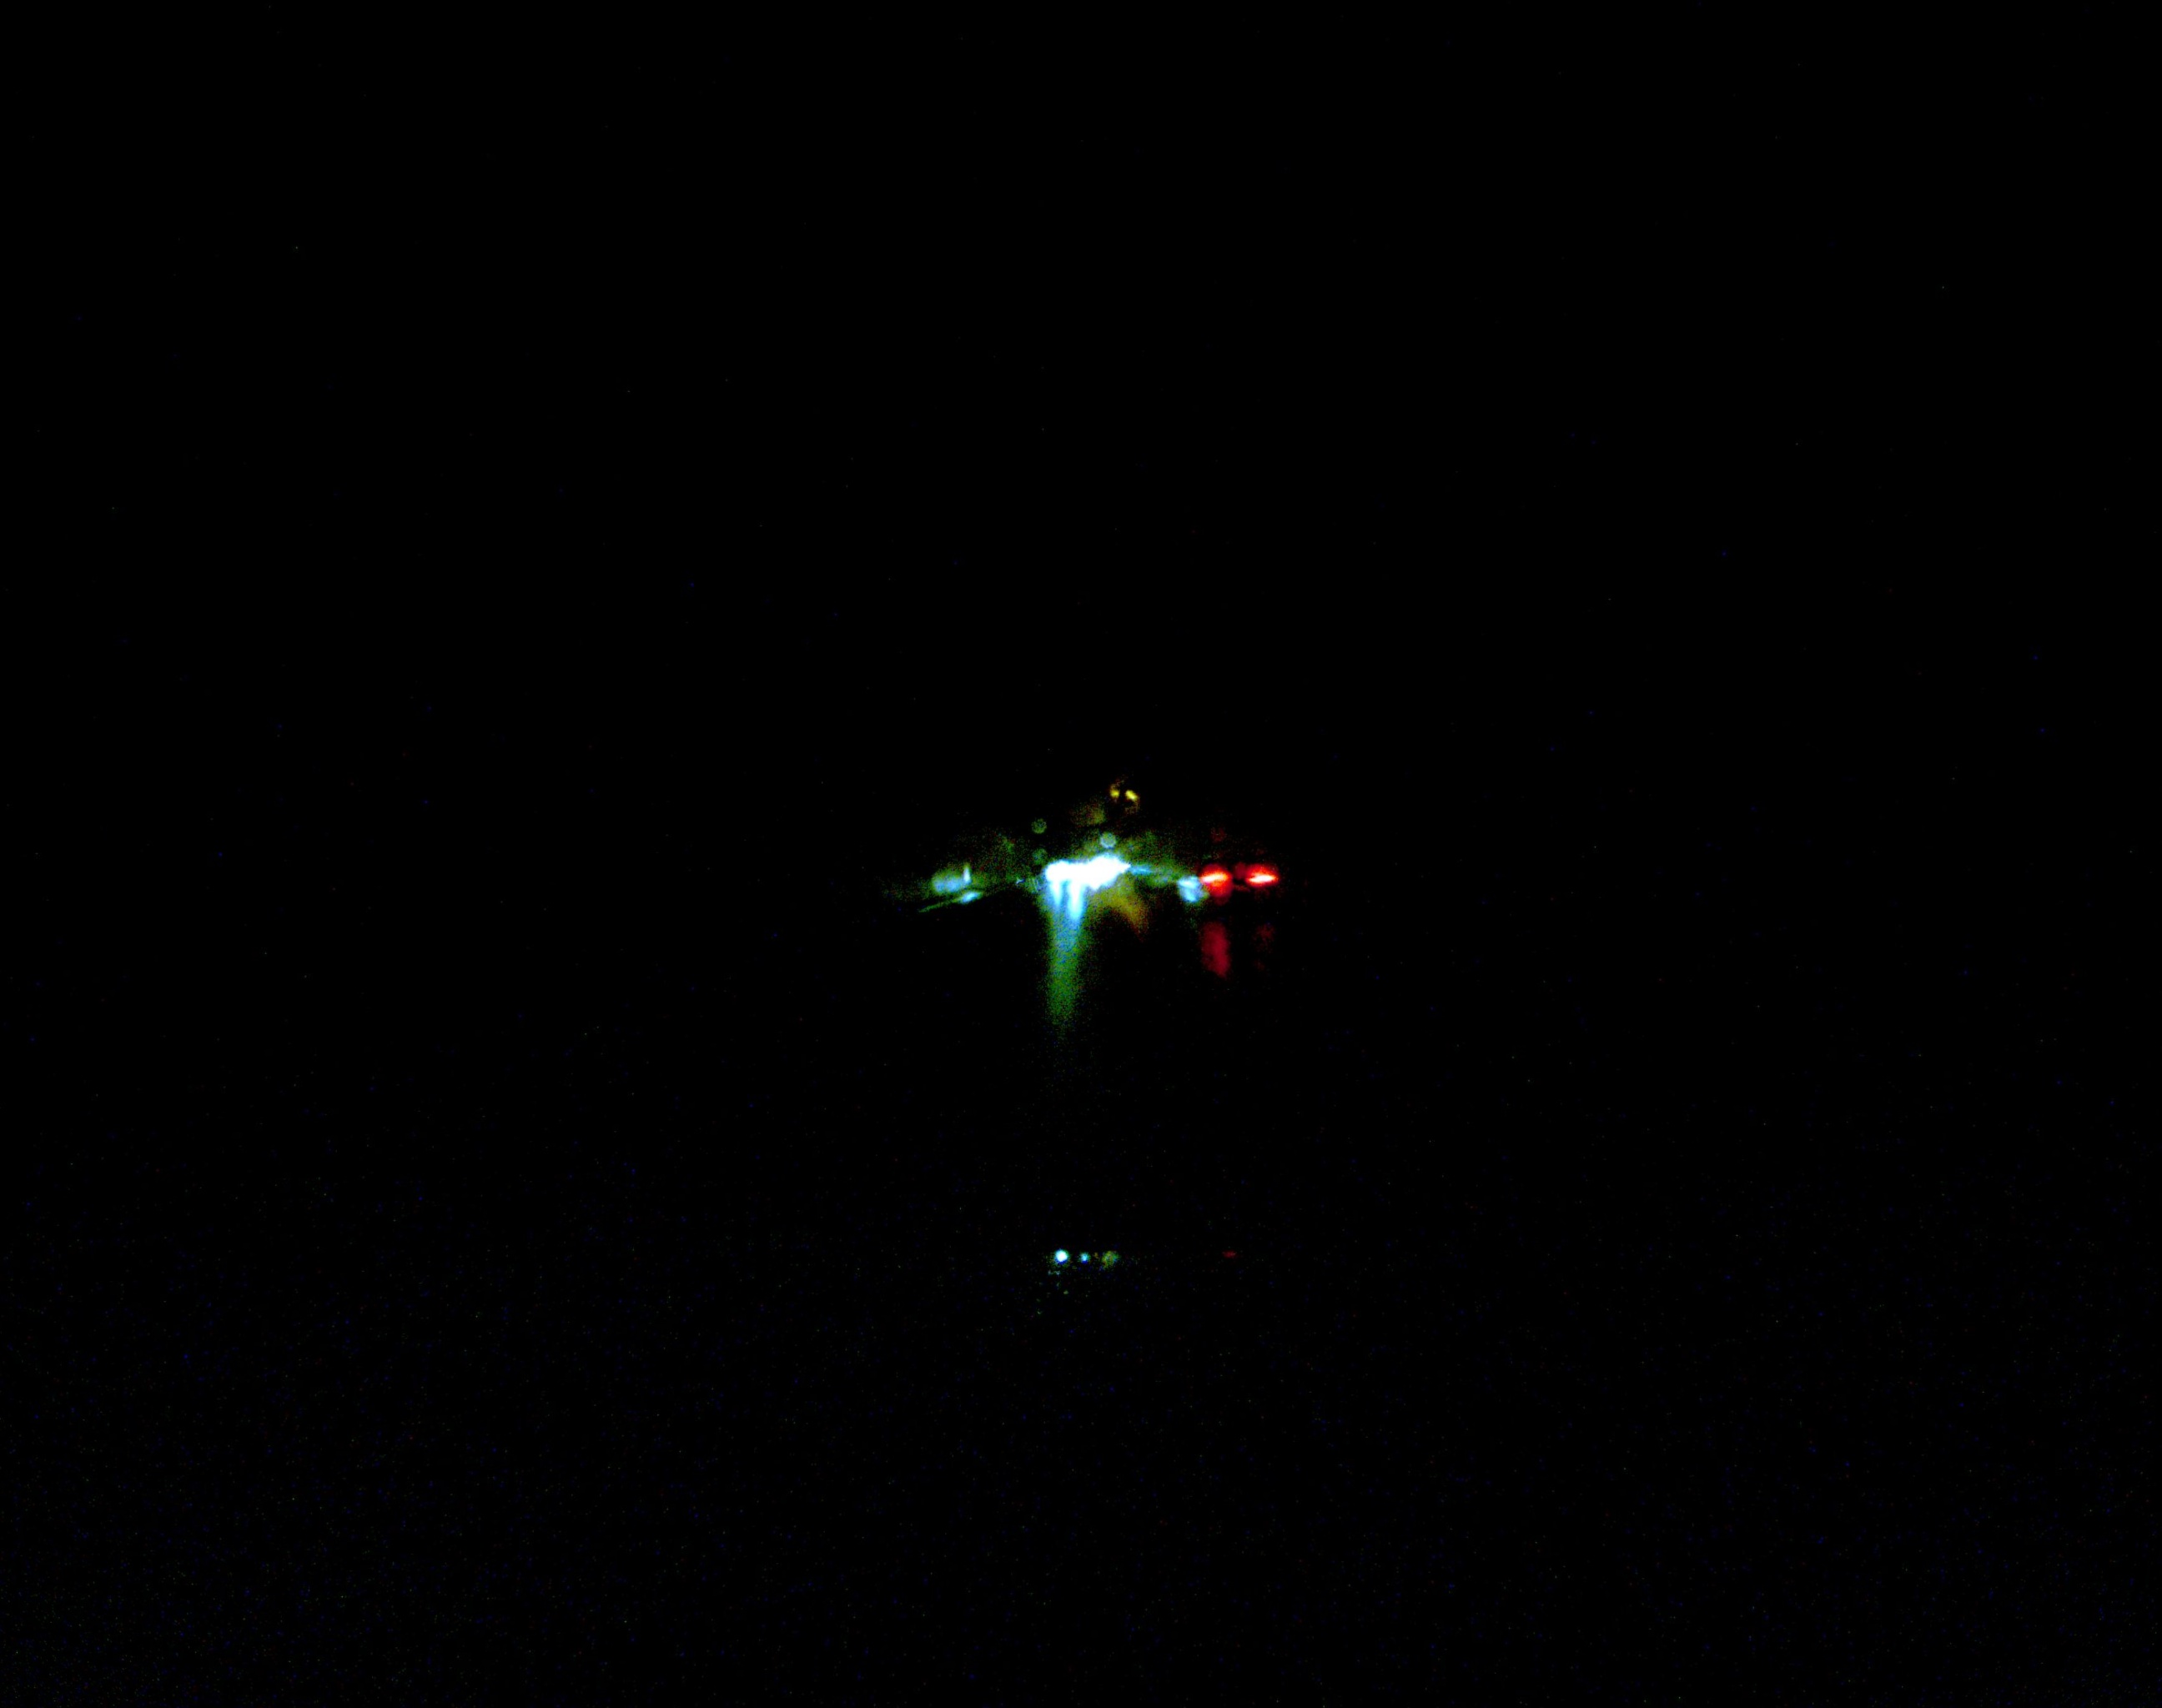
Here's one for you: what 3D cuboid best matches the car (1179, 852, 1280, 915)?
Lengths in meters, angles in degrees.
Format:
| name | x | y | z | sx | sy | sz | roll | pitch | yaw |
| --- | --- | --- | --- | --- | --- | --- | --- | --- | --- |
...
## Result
| name | x | y | z | sx | sy | sz | roll | pitch | yaw |
| --- | --- | --- | --- | --- | --- | --- | --- | --- | --- |
| car | 3.987 | 0.739 | 21.188 | 1.998 | 1.465 | 4.276 | -3 | 0 | 1 |

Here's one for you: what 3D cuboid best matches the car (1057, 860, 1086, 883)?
| name | x | y | z | sx | sy | sz | roll | pitch | yaw |
| --- | --- | --- | --- | --- | --- | --- | --- | --- | --- |
| car | -0.667 | 1.317 | 57.764 | 1.998 | 1.576 | 4.000 | -3 | 0 | 1 |

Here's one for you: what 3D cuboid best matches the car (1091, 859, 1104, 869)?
| name | x | y | z | sx | sy | sz | roll | pitch | yaw |
| --- | --- | --- | --- | --- | --- | --- | --- | --- | --- |
| car | 2.640 | 1.616 | 123.125 | 1.998 | 1.576 | 4.000 | -3 | 0 | 1 |

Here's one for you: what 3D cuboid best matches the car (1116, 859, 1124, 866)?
| name | x | y | z | sx | sy | sz | roll | pitch | yaw |
| --- | --- | --- | --- | --- | --- | --- | --- | --- | --- |
| car | 10.431 | 2.209 | 202.771 | 1.998 | 1.576 | 4.000 | -3 | 0 | 1 |

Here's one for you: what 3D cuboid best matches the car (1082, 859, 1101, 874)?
| name | x | y | z | sx | sy | sz | roll | pitch | yaw |
| --- | --- | --- | --- | --- | --- | --- | --- | --- | --- |
| car | 1.172 | 1.393 | 85.759 | 1.998 | 1.576 | 4.000 | -3 | 0 | 1 |
